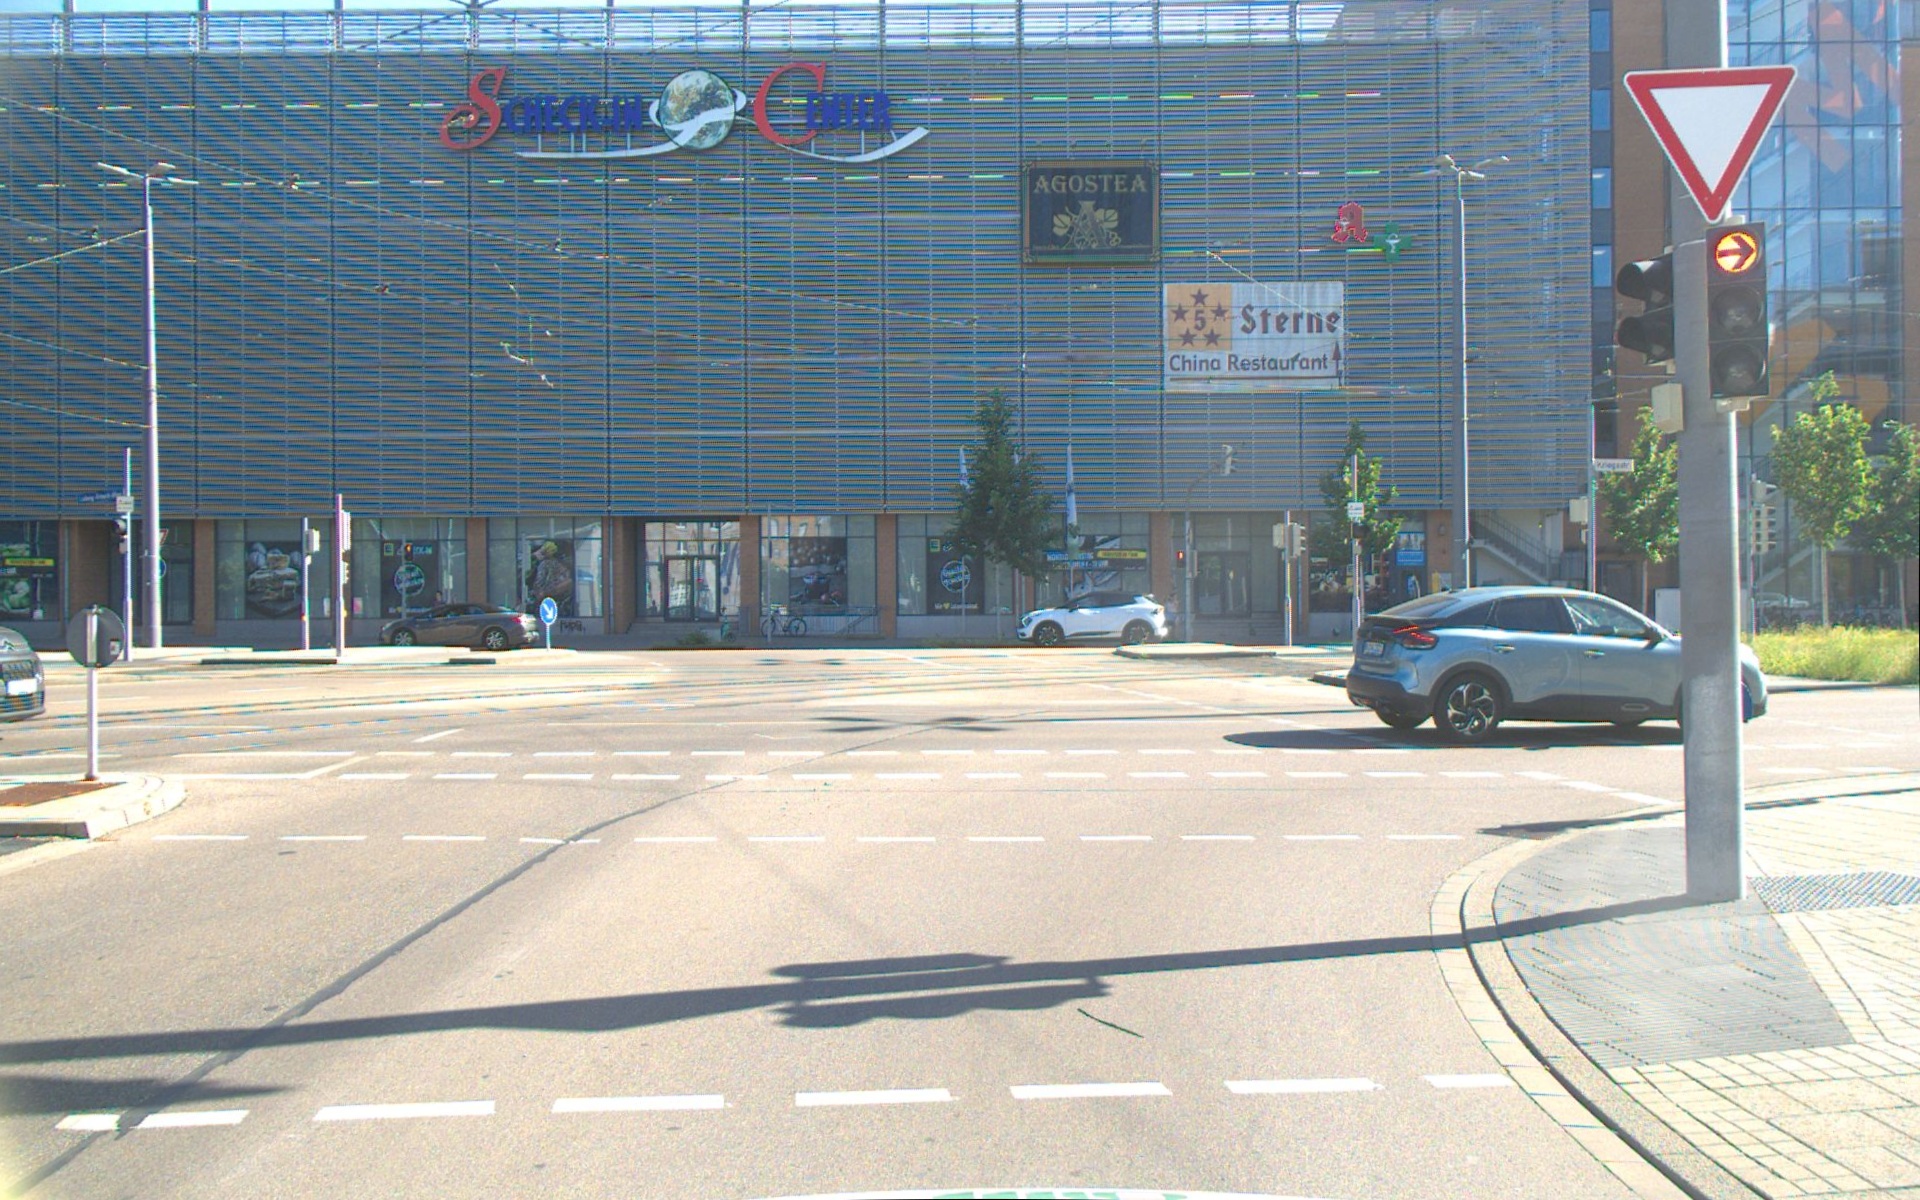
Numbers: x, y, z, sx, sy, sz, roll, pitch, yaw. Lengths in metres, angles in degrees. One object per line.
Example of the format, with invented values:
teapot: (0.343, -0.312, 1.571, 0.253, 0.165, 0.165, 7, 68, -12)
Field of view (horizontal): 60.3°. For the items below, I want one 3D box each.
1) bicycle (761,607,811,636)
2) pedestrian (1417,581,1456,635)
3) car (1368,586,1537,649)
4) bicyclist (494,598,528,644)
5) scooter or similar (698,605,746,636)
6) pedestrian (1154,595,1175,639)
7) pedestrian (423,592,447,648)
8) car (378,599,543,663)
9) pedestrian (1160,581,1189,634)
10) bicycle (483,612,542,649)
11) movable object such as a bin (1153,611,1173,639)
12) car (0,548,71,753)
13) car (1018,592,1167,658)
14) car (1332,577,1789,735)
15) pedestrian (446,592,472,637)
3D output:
bicycle: (-6.368, 0.775, 60.427, 1.783, 1.006, 0.556, 0, 1, -11)
pedestrian: (16.938, 0.288, 58.832, 0.993, 1.860, 1.034, -2, 0, -7)
car: (13.668, 0.494, 46.042, 4.063, 1.495, 1.840, 3, -1, -2)
bicyclist: (-14.801, 0.686, 54.538, 0.663, 1.452, 0.844, 0, 2, 42)
scooter or similar: (-8.748, 0.744, 60.774, 1.759, 1.085, 0.611, 0, 1, -9)
pedestrian: (6.855, 0.575, 55.359, 0.641, 1.438, 0.850, 1, 0, 10)
pedestrian: (-17.341, 0.658, 54.662, 0.683, 1.829, 0.727, -2, 0, -17)
car: (-14.653, 0.897, 48.675, 4.203, 1.611, 1.840, 3, -1, -2)
pedestrian: (7.724, 0.274, 59.636, 0.930, 1.860, 0.846, -2, -4, 5)
bicycle: (-14.769, 1.003, 54.614, 0.559, 1.105, 1.852, 0, 2, 42)
movable object such as a bin: (6.739, 0.829, 54.892, 0.599, 0.920, 0.970, 1, 0, 10)
car: (-10.784, 0.455, 15.081, 4.371, 1.823, 1.707, 0, 0, -5)
car: (3.870, 0.728, 48.892, 4.238, 1.895, 1.840, 0, -1, -2)
car: (6.189, 0.562, 17.244, 4.185, 1.540, 1.706, 1, 0, -9)
pedestrian: (-18.598, 0.540, 61.398, 0.646, 1.629, 0.594, 1, -1, 18)
